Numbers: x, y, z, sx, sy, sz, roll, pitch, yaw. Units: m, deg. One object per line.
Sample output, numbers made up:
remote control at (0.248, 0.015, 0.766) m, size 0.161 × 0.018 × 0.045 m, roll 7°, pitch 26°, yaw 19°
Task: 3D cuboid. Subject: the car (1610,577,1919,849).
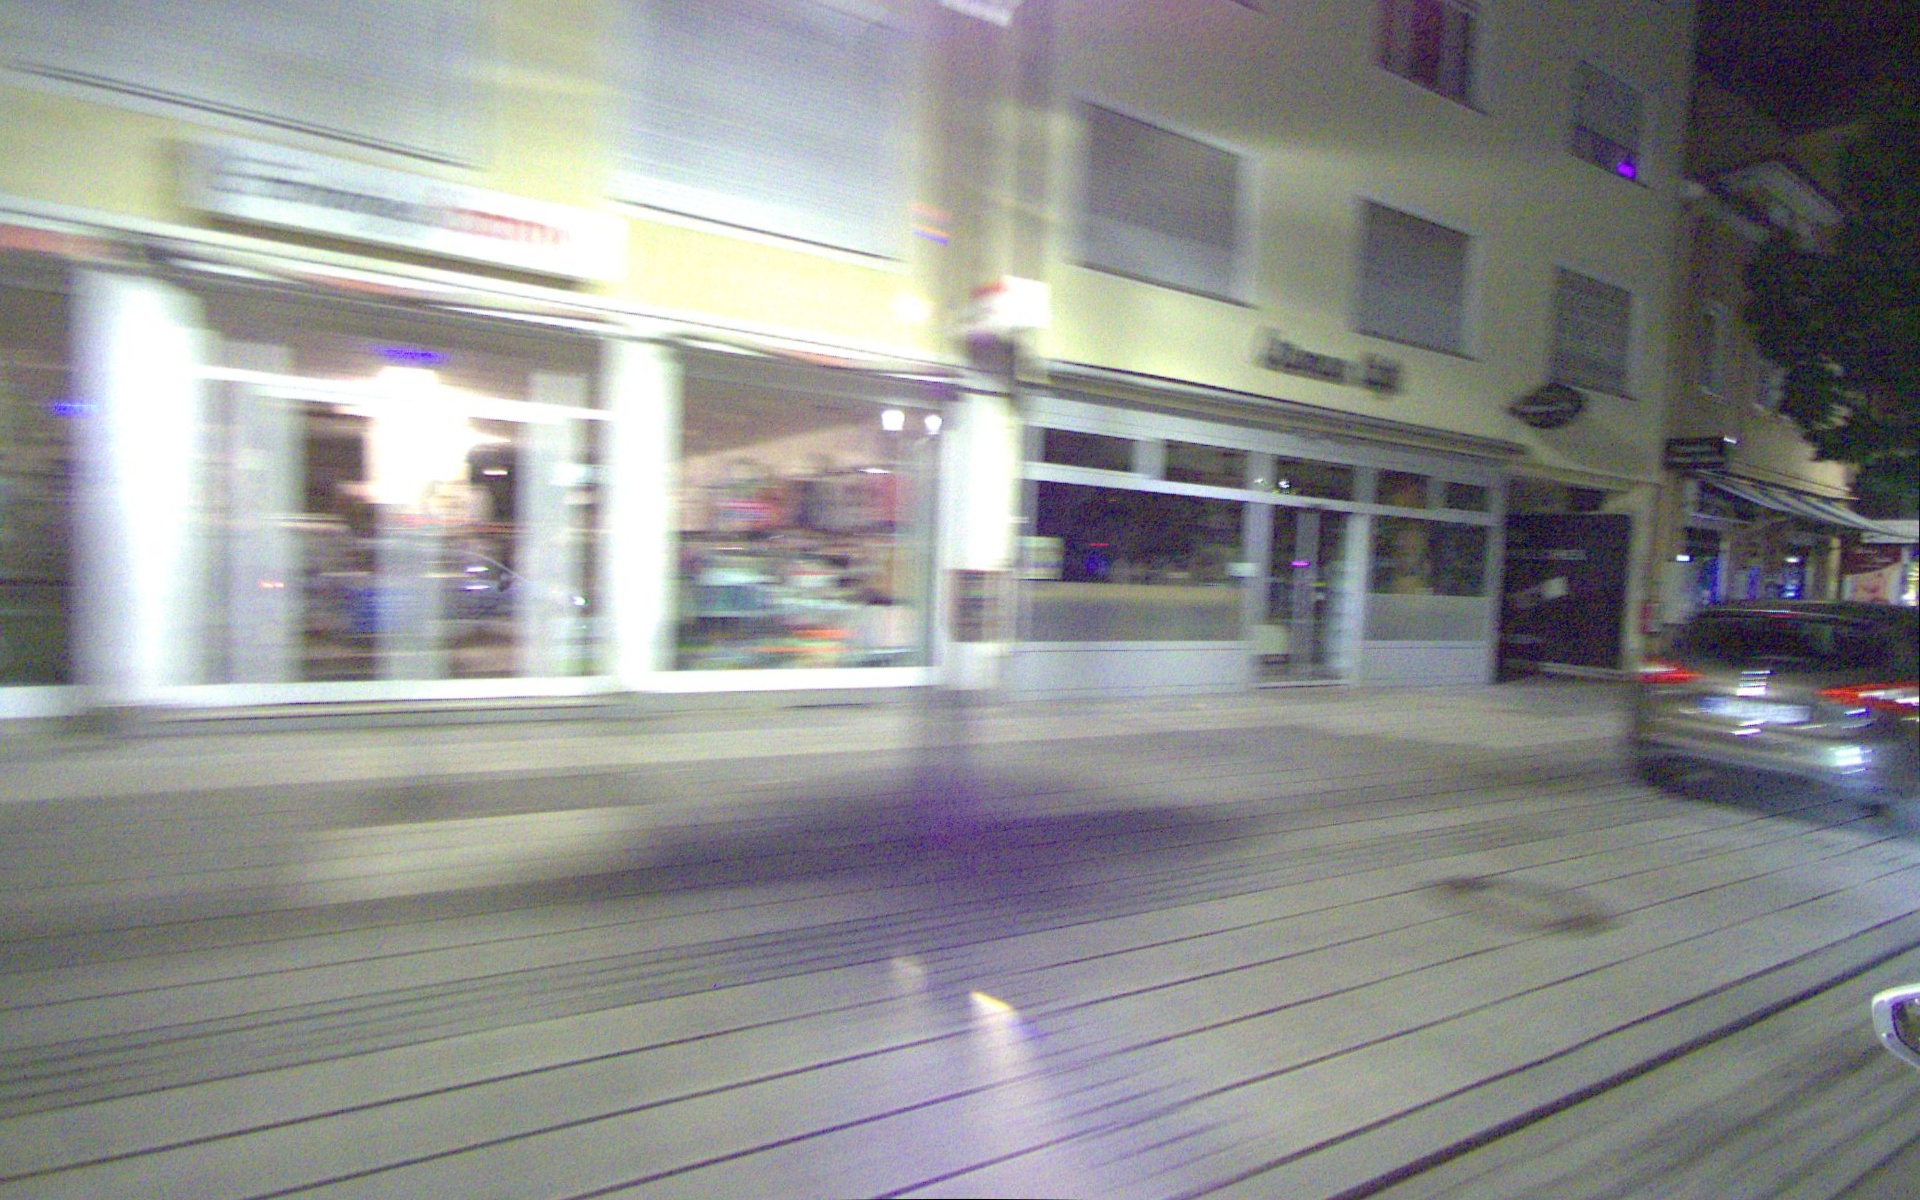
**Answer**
car at (7.012, 0.714, 7.923) m, size 4.189 × 1.564 × 1.662 m, roll 1°, pitch 3°, yaw -36°
